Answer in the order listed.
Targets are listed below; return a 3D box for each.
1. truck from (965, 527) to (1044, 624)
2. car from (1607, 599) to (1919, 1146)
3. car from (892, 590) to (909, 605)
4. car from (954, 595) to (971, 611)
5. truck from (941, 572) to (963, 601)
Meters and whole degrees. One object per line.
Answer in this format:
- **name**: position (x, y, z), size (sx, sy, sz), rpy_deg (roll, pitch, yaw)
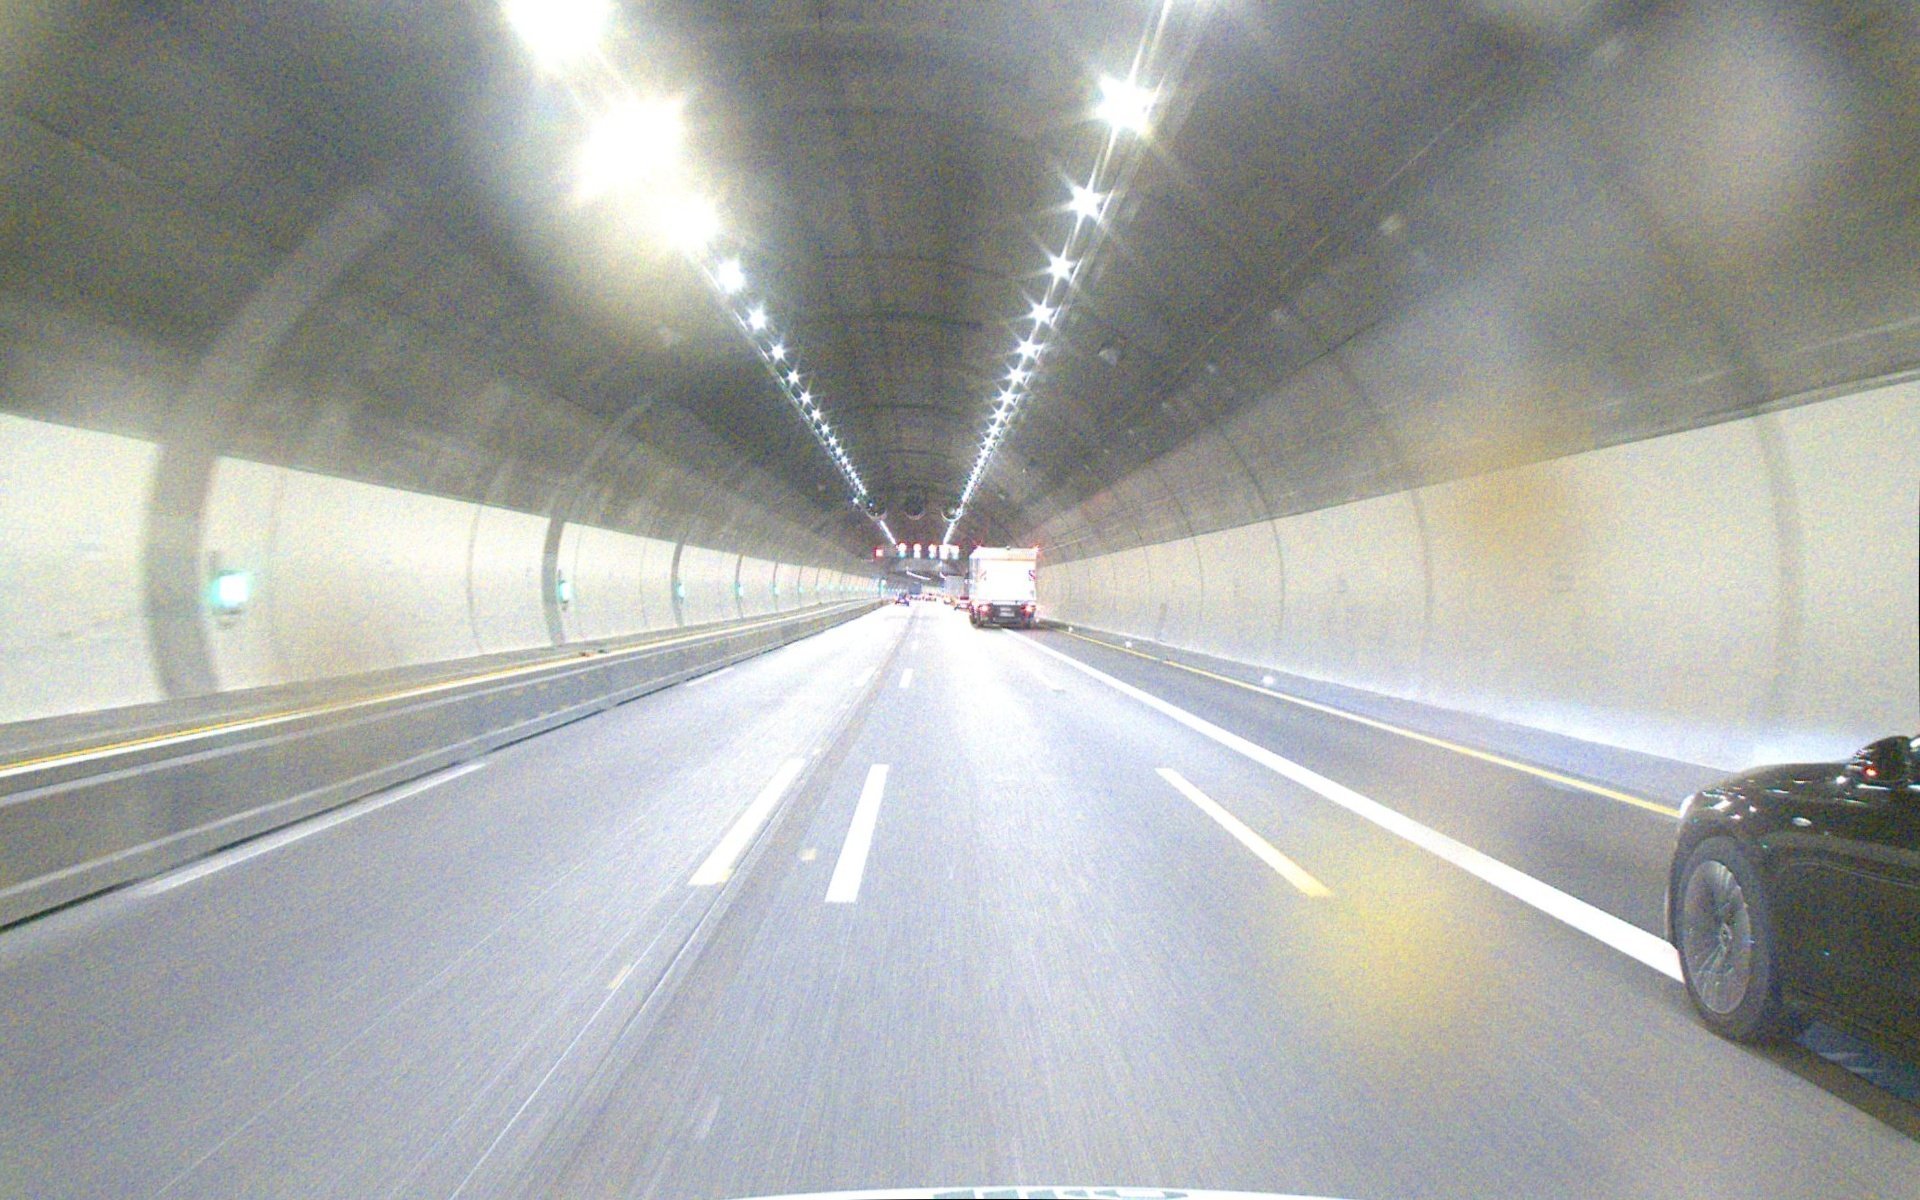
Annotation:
- **truck**: position (1.898, -0.985, 74.661), size (3.029, 3.986, 10.365), rpy_deg (2, -1, -1)
- **car**: position (3.596, 0.771, 4.202), size (1.886, 1.498, 4.953), rpy_deg (1, 0, -1)
- **car**: position (-6.331, -0.259, 177.009), size (1.723, 1.486, 4.118), rpy_deg (1, 1, -1)
- **car**: position (0.251, 0.249, 163.314), size (1.704, 1.486, 3.960), rpy_deg (1, 1, 0)
- **truck**: position (-1.143, -1.864, 238.643), size (3.003, 3.986, 10.367), rpy_deg (2, -1, 0)
